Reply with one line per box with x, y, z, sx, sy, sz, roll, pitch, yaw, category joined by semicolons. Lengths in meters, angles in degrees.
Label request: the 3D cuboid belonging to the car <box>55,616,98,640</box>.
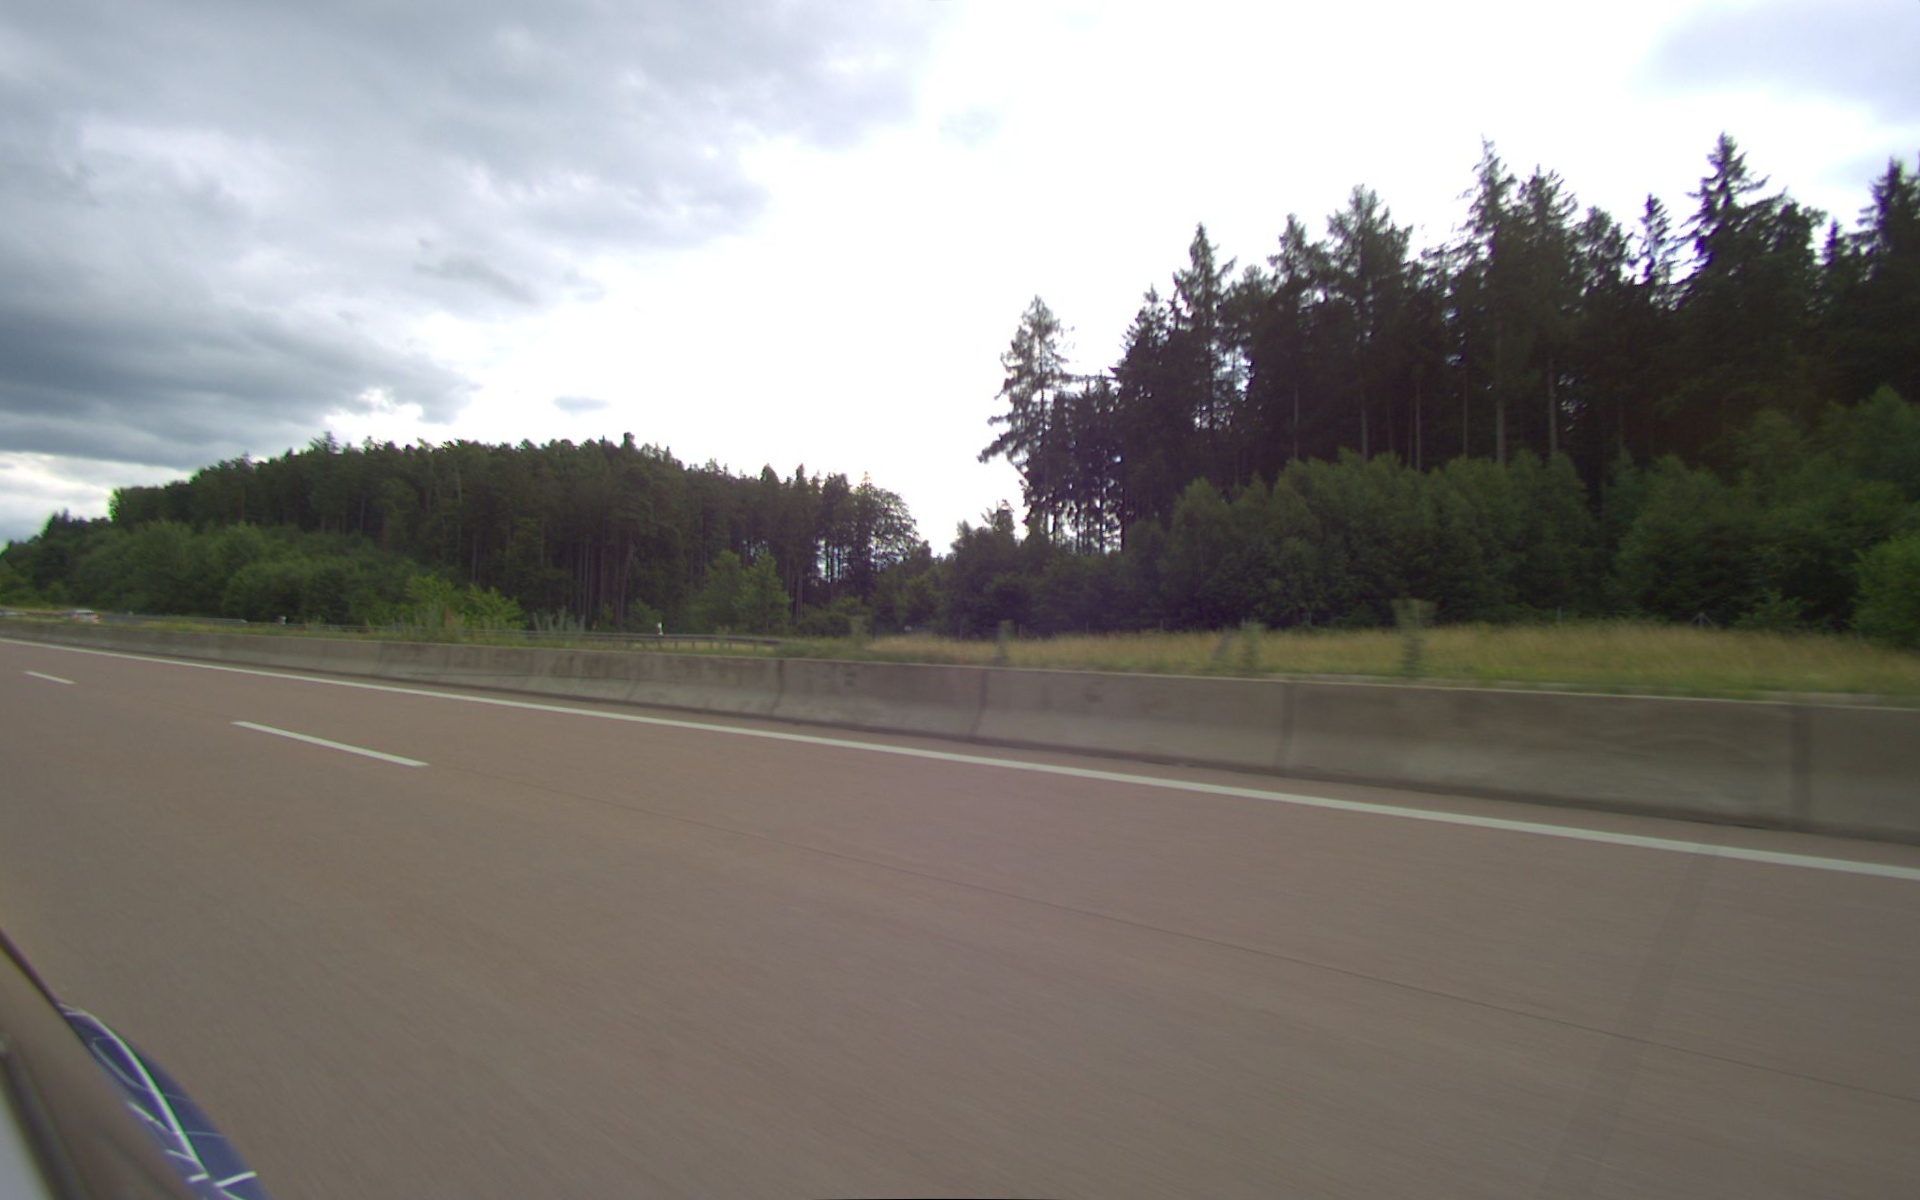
-75.091;2.352;85.989;4.720;1.897;2.013;-1;0;39;car

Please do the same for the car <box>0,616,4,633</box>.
-110.592;2.813;115.115;4.718;1.897;2.014;-1;0;39;car
